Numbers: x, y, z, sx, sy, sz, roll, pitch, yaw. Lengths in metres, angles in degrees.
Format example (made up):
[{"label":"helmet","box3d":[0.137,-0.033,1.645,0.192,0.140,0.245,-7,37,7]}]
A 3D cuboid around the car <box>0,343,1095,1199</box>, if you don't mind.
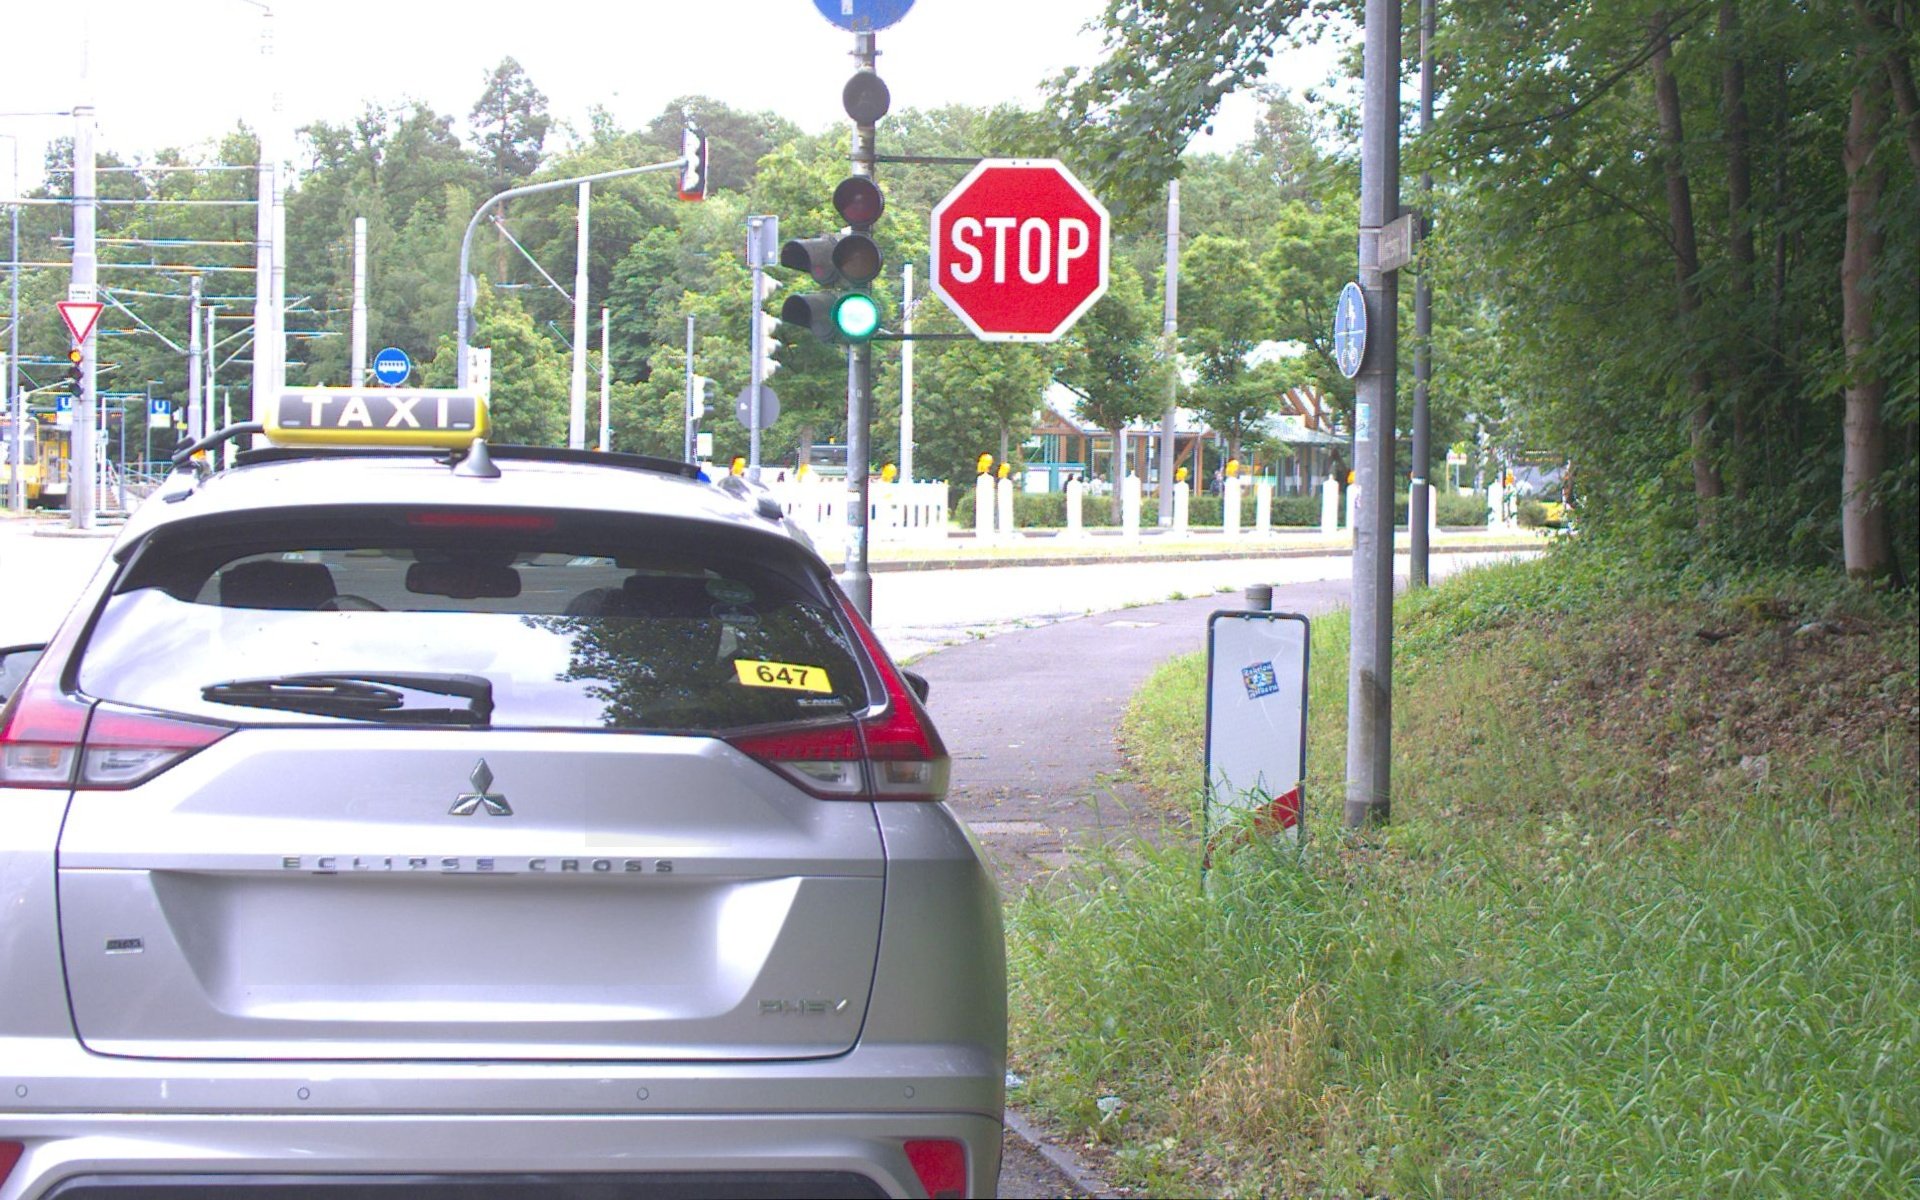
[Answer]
[{"label":"car","box3d":[-1.002,0.466,6.840,1.773,1.742,3.782,2,2,-9]}]
